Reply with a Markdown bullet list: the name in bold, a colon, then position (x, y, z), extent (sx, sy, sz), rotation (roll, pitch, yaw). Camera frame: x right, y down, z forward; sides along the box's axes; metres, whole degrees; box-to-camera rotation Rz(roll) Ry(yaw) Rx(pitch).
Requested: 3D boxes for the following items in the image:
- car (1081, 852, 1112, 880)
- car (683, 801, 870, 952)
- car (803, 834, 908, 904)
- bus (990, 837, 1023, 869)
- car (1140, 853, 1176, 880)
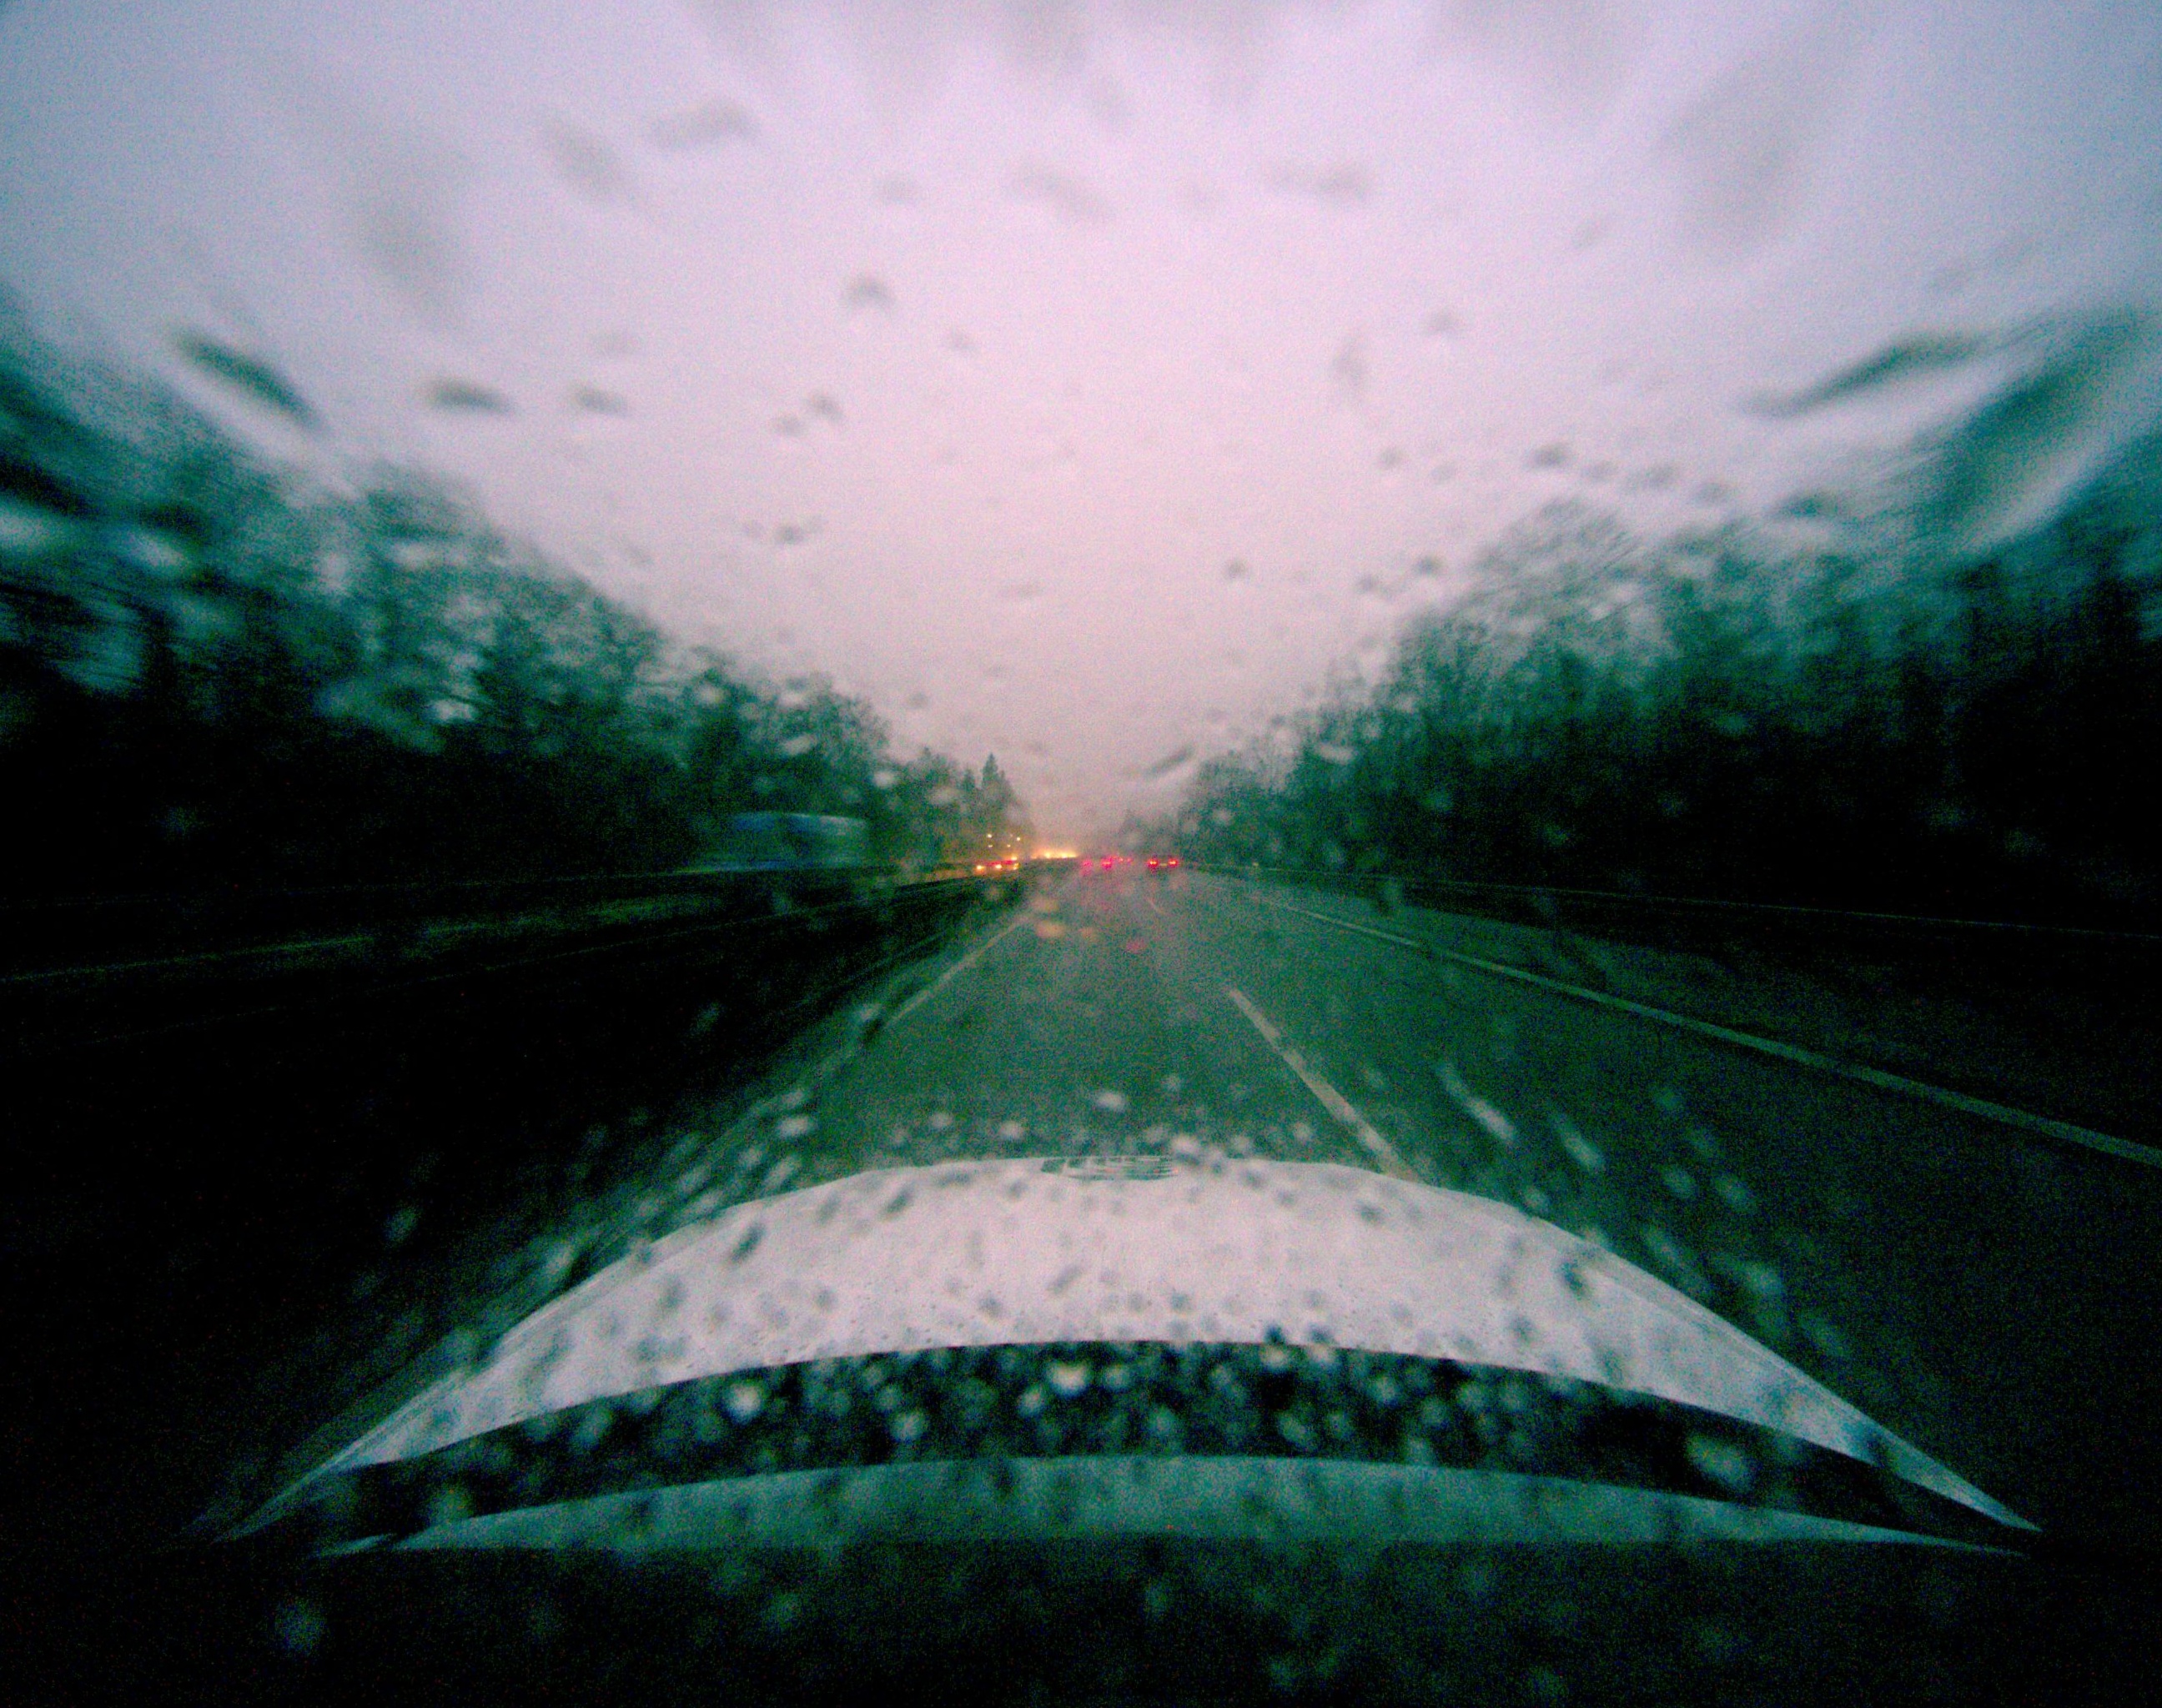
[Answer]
- **car**: position (0.995, 0.781, 54.399), extent (1.980, 1.767, 4.172), rotation (-1, 0, 0)
- **car**: position (-6.957, 0.472, 19.456), extent (2.296, 3.090, 5.609), rotation (0, 0, 1)
- **car**: position (-7.214, 0.457, 26.541), extent (1.986, 2.013, 4.395), rotation (2, 0, 2)
- **bus**: position (-8.695, -0.063, 96.162), extent (2.716, 3.555, 9.091), rotation (0, 0, 2)
- **car**: position (5.130, 0.810, 54.964), extent (2.063, 1.698, 4.461), rotation (0, 0, 1)
